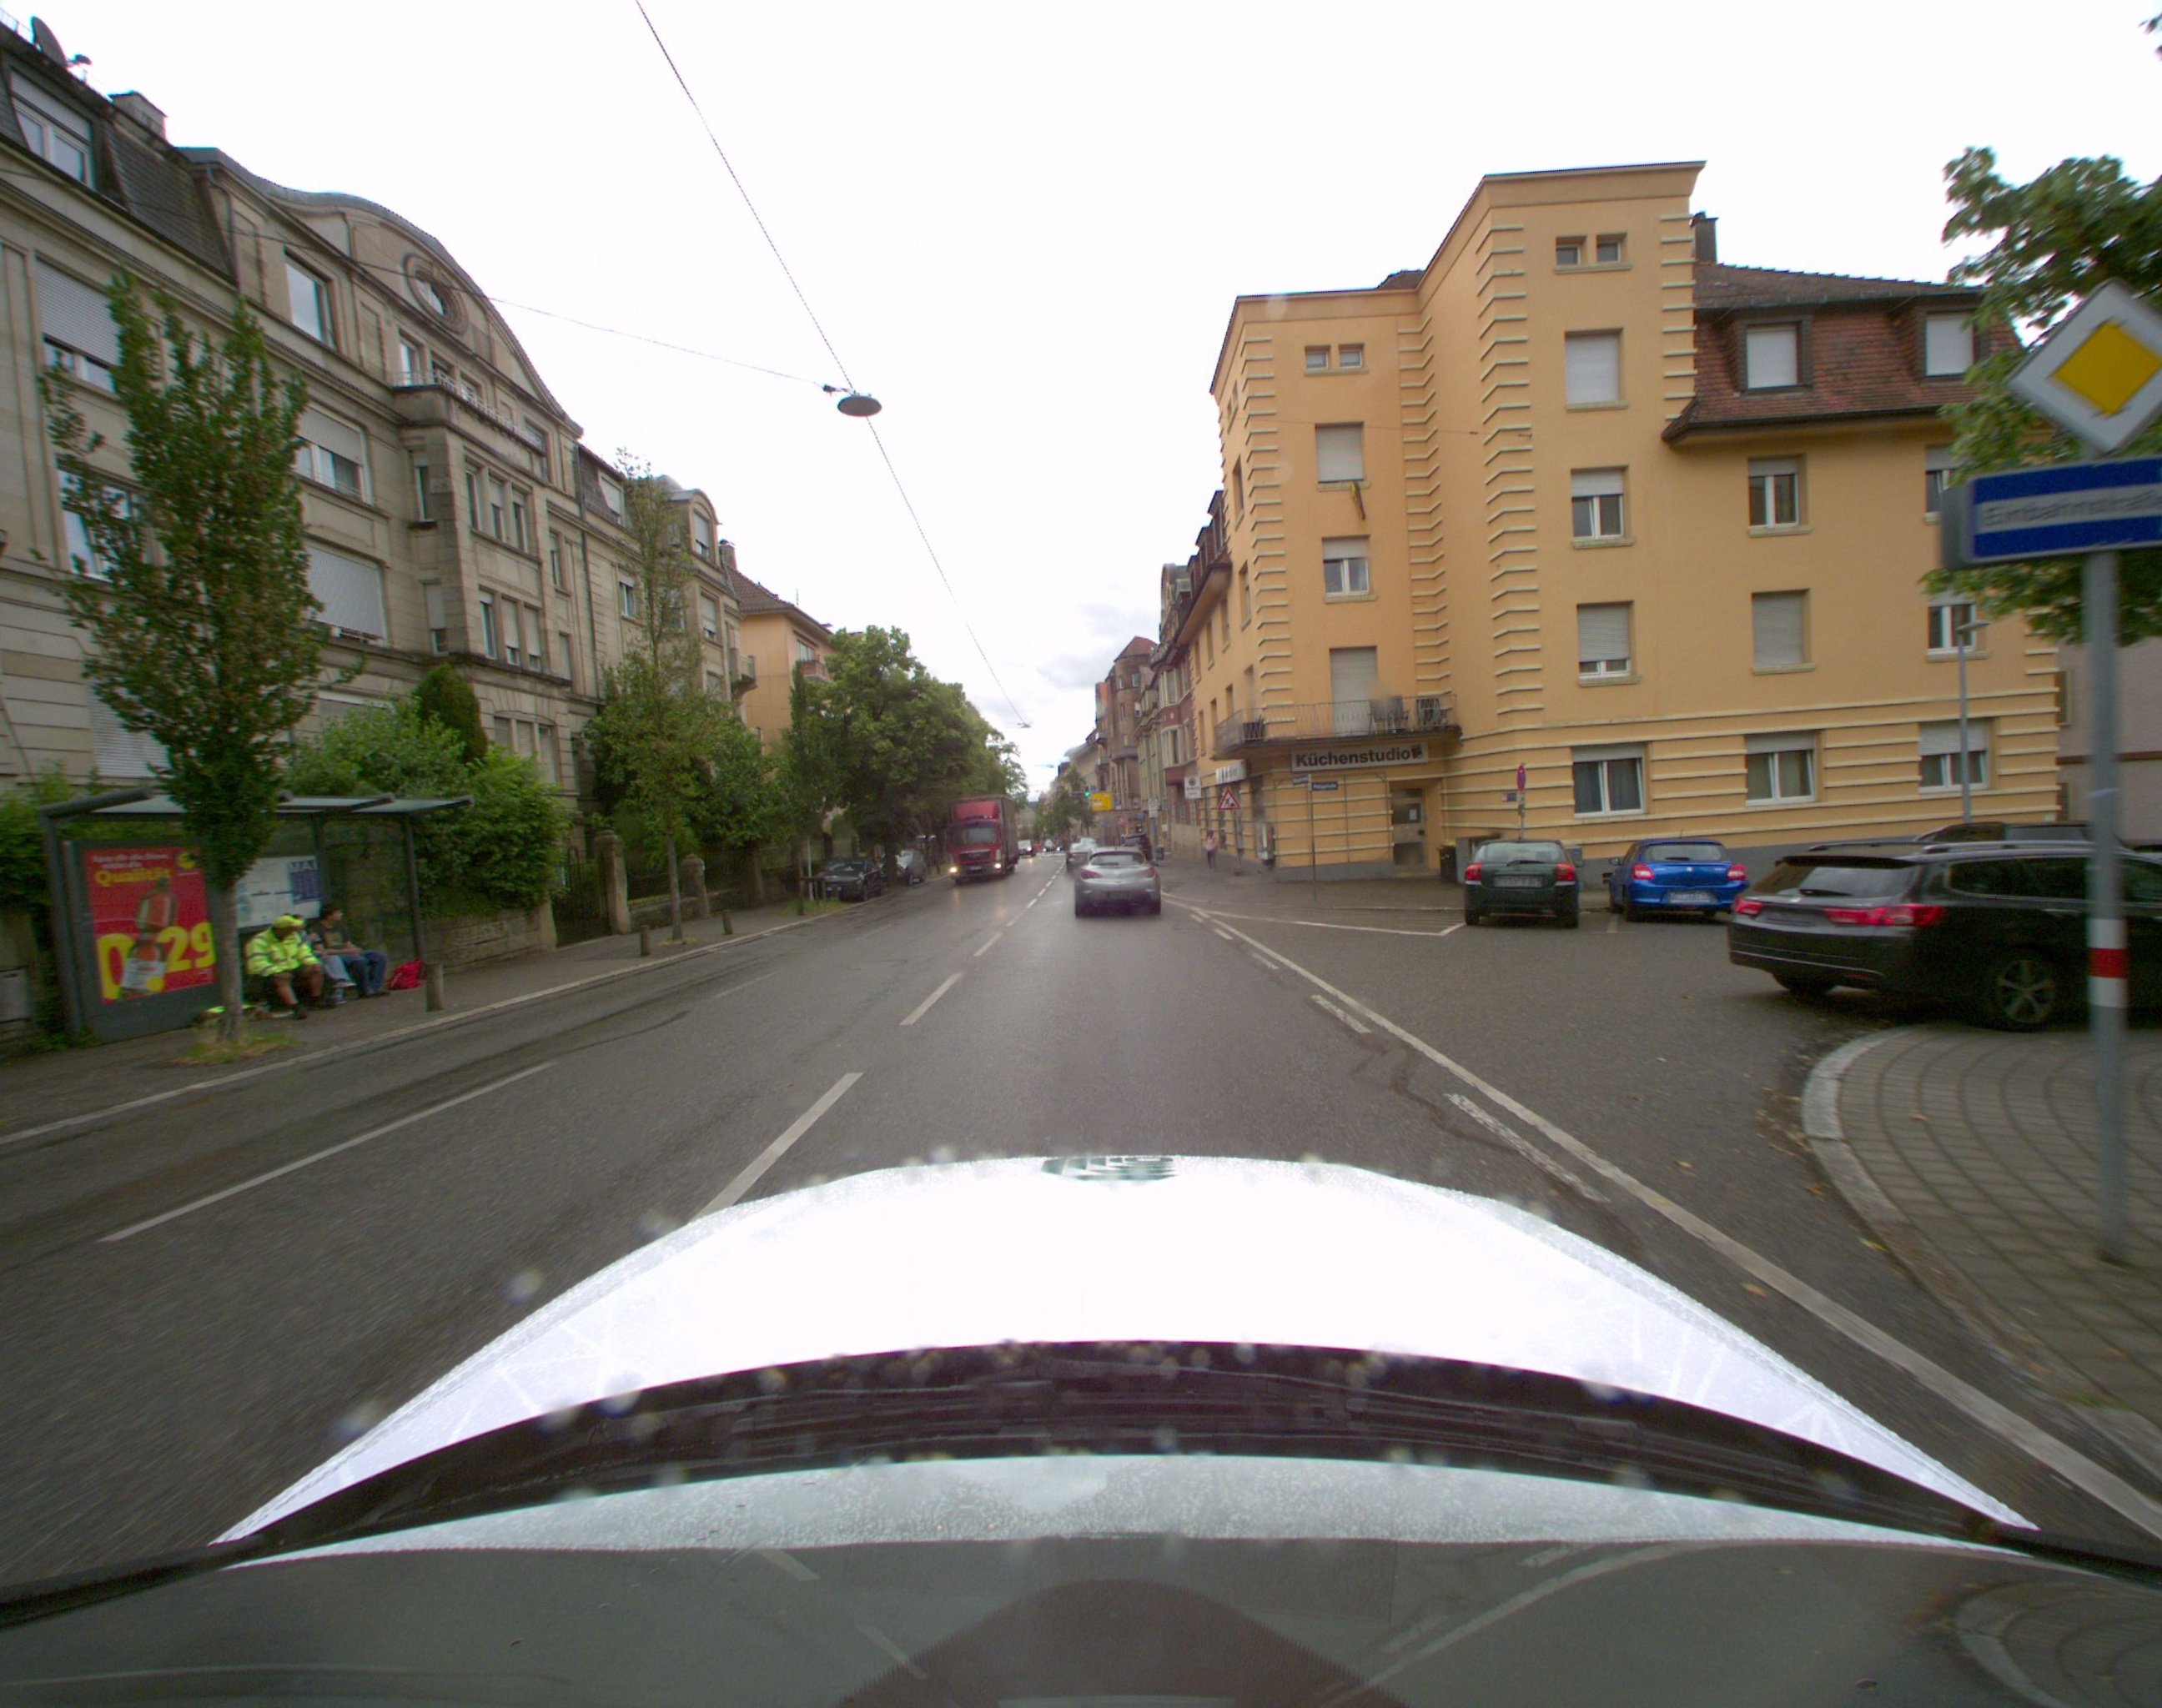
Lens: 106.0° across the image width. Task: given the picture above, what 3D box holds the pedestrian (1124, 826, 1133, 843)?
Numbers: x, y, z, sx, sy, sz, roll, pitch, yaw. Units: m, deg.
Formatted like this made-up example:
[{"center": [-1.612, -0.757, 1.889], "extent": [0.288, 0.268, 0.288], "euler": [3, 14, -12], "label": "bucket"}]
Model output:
[{"center": [4.640, -1.915, 79.142], "extent": [0.592, 1.584, 0.669], "euler": [-5, 2, 19], "label": "pedestrian"}]

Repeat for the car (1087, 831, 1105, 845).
[{"center": [1.895, -2.036, 104.019], "extent": [1.655, 1.542, 3.657], "euler": [-6, 0, -6], "label": "car"}]

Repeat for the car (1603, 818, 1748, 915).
[{"center": [10.768, 0.151, 14.999], "extent": [1.687, 1.492, 3.660], "euler": [-1, 2, 29], "label": "car"}]

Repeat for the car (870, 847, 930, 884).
[{"center": [-8.479, 0.490, 38.414], "extent": [1.735, 1.559, 4.303], "euler": [-2, 1, 1], "label": "car"}]

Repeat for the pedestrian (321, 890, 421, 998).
[{"center": [-10.279, 1.292, 11.814], "extent": [0.763, 1.432, 0.650], "euler": [-4, 0, 2], "label": "pedestrian"}]

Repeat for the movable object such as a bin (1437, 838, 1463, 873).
[{"center": [10.330, 0.036, 22.807], "extent": [0.503, 0.918, 0.513], "euler": [-2, 3, 0], "label": "movable object such as a bin"}]

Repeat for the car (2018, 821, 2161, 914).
[{"center": [19.103, 0.163, 14.838], "extent": [1.686, 1.468, 3.636], "euler": [1, 3, 33], "label": "car"}]

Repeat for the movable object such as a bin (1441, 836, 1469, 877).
[{"center": [10.211, 0.062, 22.239], "extent": [0.503, 1.056, 0.513], "euler": [-2, 5, 0], "label": "movable object such as a bin"}]

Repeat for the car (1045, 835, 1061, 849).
[{"center": [-3.265, -1.411, 95.313], "extent": [1.811, 1.517, 4.545], "euler": [-3, 1, -2], "label": "car"}]

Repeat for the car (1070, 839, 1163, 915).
[{"center": [0.779, 0.440, 18.447], "extent": [1.804, 1.449, 3.871], "euler": [-3, 1, 2], "label": "car"}]

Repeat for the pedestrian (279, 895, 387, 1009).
[{"center": [-10.311, 1.329, 11.248], "extent": [0.763, 1.432, 0.650], "euler": [-4, 0, 2], "label": "pedestrian"}]

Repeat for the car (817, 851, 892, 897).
[{"center": [-8.385, 0.690, 30.511], "extent": [1.737, 1.559, 4.298], "euler": [-1, 1, -2], "label": "car"}]

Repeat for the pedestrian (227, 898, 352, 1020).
[{"center": [-10.314, 1.343, 10.638], "extent": [0.763, 1.432, 0.760], "euler": [-4, 0, 1], "label": "pedestrian"}]

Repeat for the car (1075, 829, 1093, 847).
[{"center": [0.292, -1.617, 82.525], "extent": [1.651, 1.542, 3.665], "euler": [-6, 0, 0], "label": "car"}]

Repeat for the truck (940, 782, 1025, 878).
[{"center": [-4.533, -1.095, 39.450], "extent": [2.639, 3.854, 9.306], "euler": [-6, 1, 0], "label": "truck"}]

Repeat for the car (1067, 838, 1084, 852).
[{"center": [-0.685, -1.171, 103.103], "extent": [1.655, 1.542, 3.657], "euler": [-6, 0, -6], "label": "car"}]

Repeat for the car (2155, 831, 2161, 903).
[{"center": [21.899, 0.306, 14.792], "extent": [1.686, 1.469, 3.636], "euler": [-4, 1, 33], "label": "car"}]

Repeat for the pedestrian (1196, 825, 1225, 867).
[{"center": [5.063, -0.302, 31.817], "extent": [0.768, 1.589, 0.707], "euler": [-5, 0, -19], "label": "pedestrian"}]

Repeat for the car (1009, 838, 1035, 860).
[{"center": [-5.110, -0.447, 71.041], "extent": [1.766, 1.517, 4.591], "euler": [-4, 3, 0], "label": "car"}]

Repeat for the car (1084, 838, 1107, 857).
[{"center": [1.237, -0.538, 68.738], "extent": [1.766, 1.504, 3.870], "euler": [-3, 1, 1], "label": "car"}]

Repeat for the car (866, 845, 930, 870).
[{"center": [-12.682, 0.225, 56.640], "extent": [3.976, 1.326, 1.836], "euler": [-4, 2, -1], "label": "car"}]

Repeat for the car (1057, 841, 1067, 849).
[{"center": [-3.666, -1.774, 158.094], "extent": [1.635, 1.429, 3.369], "euler": [-5, 1, -6], "label": "car"}]

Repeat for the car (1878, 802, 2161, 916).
[{"center": [16.566, -0.013, 14.657], "extent": [1.687, 1.724, 4.566], "euler": [-1, 2, 24], "label": "car"}]

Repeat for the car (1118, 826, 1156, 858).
[{"center": [3.315, -0.711, 48.873], "extent": [1.870, 1.629, 4.698], "euler": [-7, 1, 1], "label": "car"}]

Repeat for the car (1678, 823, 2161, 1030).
[{"center": [8.091, 0.495, 7.224], "extent": [4.260, 1.498, 2.000], "euler": [-1, 2, -5], "label": "car"}]

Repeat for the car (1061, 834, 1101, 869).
[{"center": [0.037, -0.131, 39.275], "extent": [1.766, 1.504, 3.870], "euler": [-3, 1, 1], "label": "car"}]

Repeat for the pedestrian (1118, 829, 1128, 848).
[{"center": [4.109, -1.524, 79.375], "extent": [0.712, 1.773, 0.669], "euler": [-5, 2, 18], "label": "pedestrian"}]

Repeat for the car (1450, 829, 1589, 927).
[{"center": [7.872, 0.354, 14.423], "extent": [1.831, 1.469, 4.136], "euler": [1, 0, 33], "label": "car"}]

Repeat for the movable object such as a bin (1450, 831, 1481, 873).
[{"center": [10.174, -0.069, 21.557], "extent": [0.503, 1.041, 0.513], "euler": [-5, 3, 1], "label": "movable object such as a bin"}]
